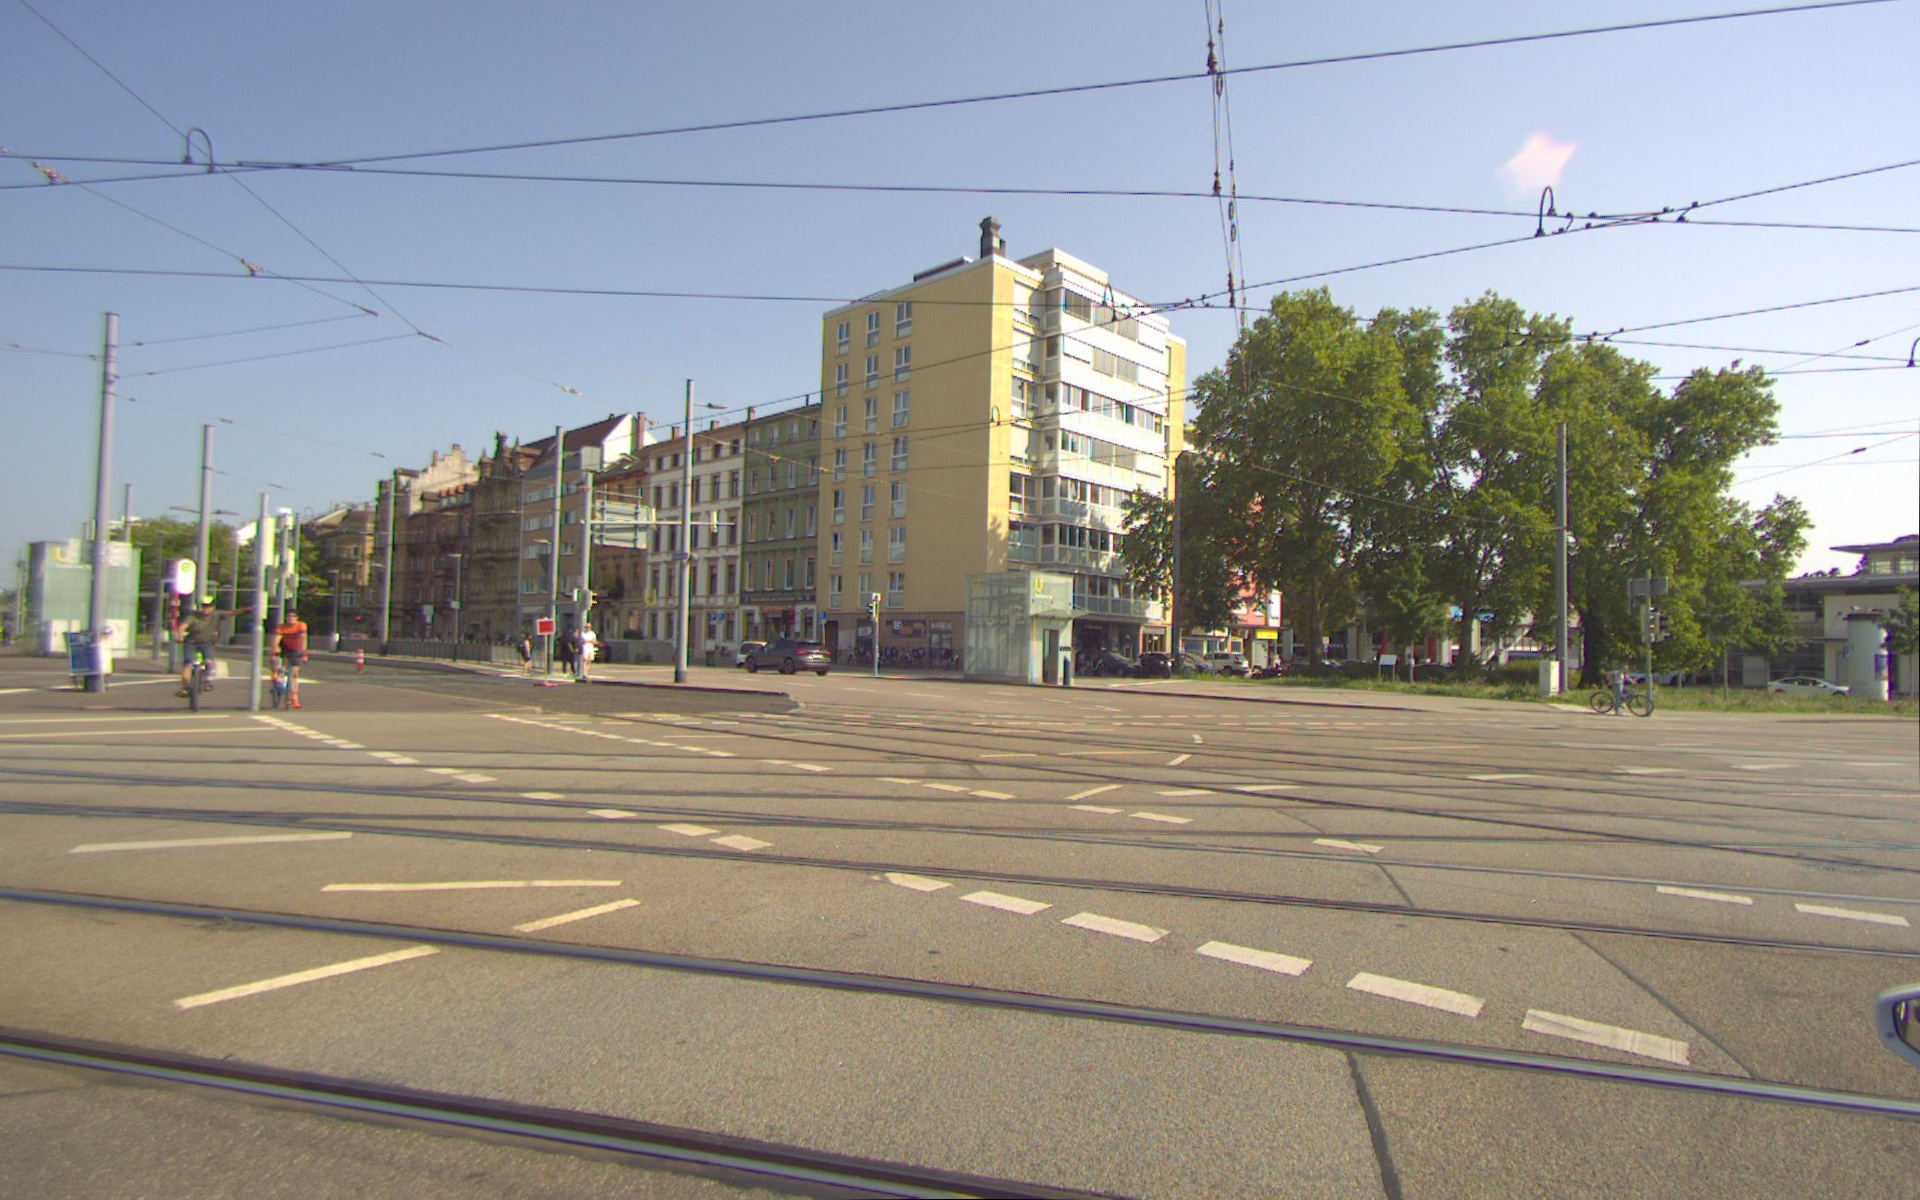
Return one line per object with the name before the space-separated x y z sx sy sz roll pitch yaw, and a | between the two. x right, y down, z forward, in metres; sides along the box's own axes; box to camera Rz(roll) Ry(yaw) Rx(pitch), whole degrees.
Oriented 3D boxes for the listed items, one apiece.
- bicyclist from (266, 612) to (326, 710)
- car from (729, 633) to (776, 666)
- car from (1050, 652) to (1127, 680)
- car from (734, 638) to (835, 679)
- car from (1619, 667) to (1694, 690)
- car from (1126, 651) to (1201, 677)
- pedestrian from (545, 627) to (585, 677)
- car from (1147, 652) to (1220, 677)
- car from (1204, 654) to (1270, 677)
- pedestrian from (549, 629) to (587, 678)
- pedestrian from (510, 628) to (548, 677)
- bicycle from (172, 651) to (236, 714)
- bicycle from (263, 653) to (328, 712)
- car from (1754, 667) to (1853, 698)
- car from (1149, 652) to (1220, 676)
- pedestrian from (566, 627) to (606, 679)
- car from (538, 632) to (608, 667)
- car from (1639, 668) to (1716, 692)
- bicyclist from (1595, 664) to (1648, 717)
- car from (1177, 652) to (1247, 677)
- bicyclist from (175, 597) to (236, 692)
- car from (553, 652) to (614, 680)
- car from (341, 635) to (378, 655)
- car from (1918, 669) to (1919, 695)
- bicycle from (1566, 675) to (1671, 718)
bicyclist | -11.706 1.059 17.705 0.720 1.673 0.874 3 -3 -41
car | -11.470 2.739 55.776 1.962 1.700 4.548 2 -2 -5
car | 7.048 3.618 55.393 4.110 1.372 1.474 0 -3 42
car | -7.182 2.344 40.723 1.826 1.454 4.491 4 -3 -43
car | 52.547 5.897 75.788 4.425 1.542 1.706 2 -2 2
car | 11.955 3.775 59.219 4.110 1.372 1.570 0 -3 42
pedestrian | -13.786 1.808 35.070 0.912 1.712 0.917 0 -3 43
car | 13.619 3.924 61.359 4.110 1.372 1.570 0 -3 42
car | 18.891 4.453 68.606 4.110 1.372 1.570 0 -3 42
pedestrian | -14.150 1.920 36.242 0.912 1.712 0.917 0 -3 43
pedestrian | -15.527 1.879 36.172 0.912 1.712 0.917 0 -3 43
bicycle | -12.738 1.366 16.913 0.720 0.944 1.797 3 -3 -40
bicycle | -11.723 1.429 17.698 0.720 0.944 1.797 3 -3 -40
car | 48.658 4.756 58.053 1.682 1.542 4.075 3 -2 -24
car | 14.206 4.030 63.665 4.110 1.372 1.570 0 -3 42
pedestrian | -12.677 1.808 34.065 0.912 1.712 0.917 0 -3 43
car | -21.182 2.684 54.882 1.987 1.700 4.491 4 -3 -43
car | 52.427 5.857 73.436 4.425 1.542 1.706 2 -2 2
bicyclist | 20.704 2.821 31.460 0.954 1.547 1.151 4 -1 -43
car | 16.166 4.136 64.573 4.110 1.372 1.570 0 -3 42
bicyclist | -12.724 0.750 16.940 0.720 1.547 0.787 3 -3 -41
car | -22.670 3.955 60.396 4.312 1.511 1.678 -1 -4 44
car | -56.040 4.197 93.699 1.987 1.700 4.491 4 -3 -43
car | 59.230 4.939 59.968 4.045 1.542 1.694 3 -2 -26
bicycle | 20.633 3.006 31.521 0.954 1.071 2.575 4 -1 -43
